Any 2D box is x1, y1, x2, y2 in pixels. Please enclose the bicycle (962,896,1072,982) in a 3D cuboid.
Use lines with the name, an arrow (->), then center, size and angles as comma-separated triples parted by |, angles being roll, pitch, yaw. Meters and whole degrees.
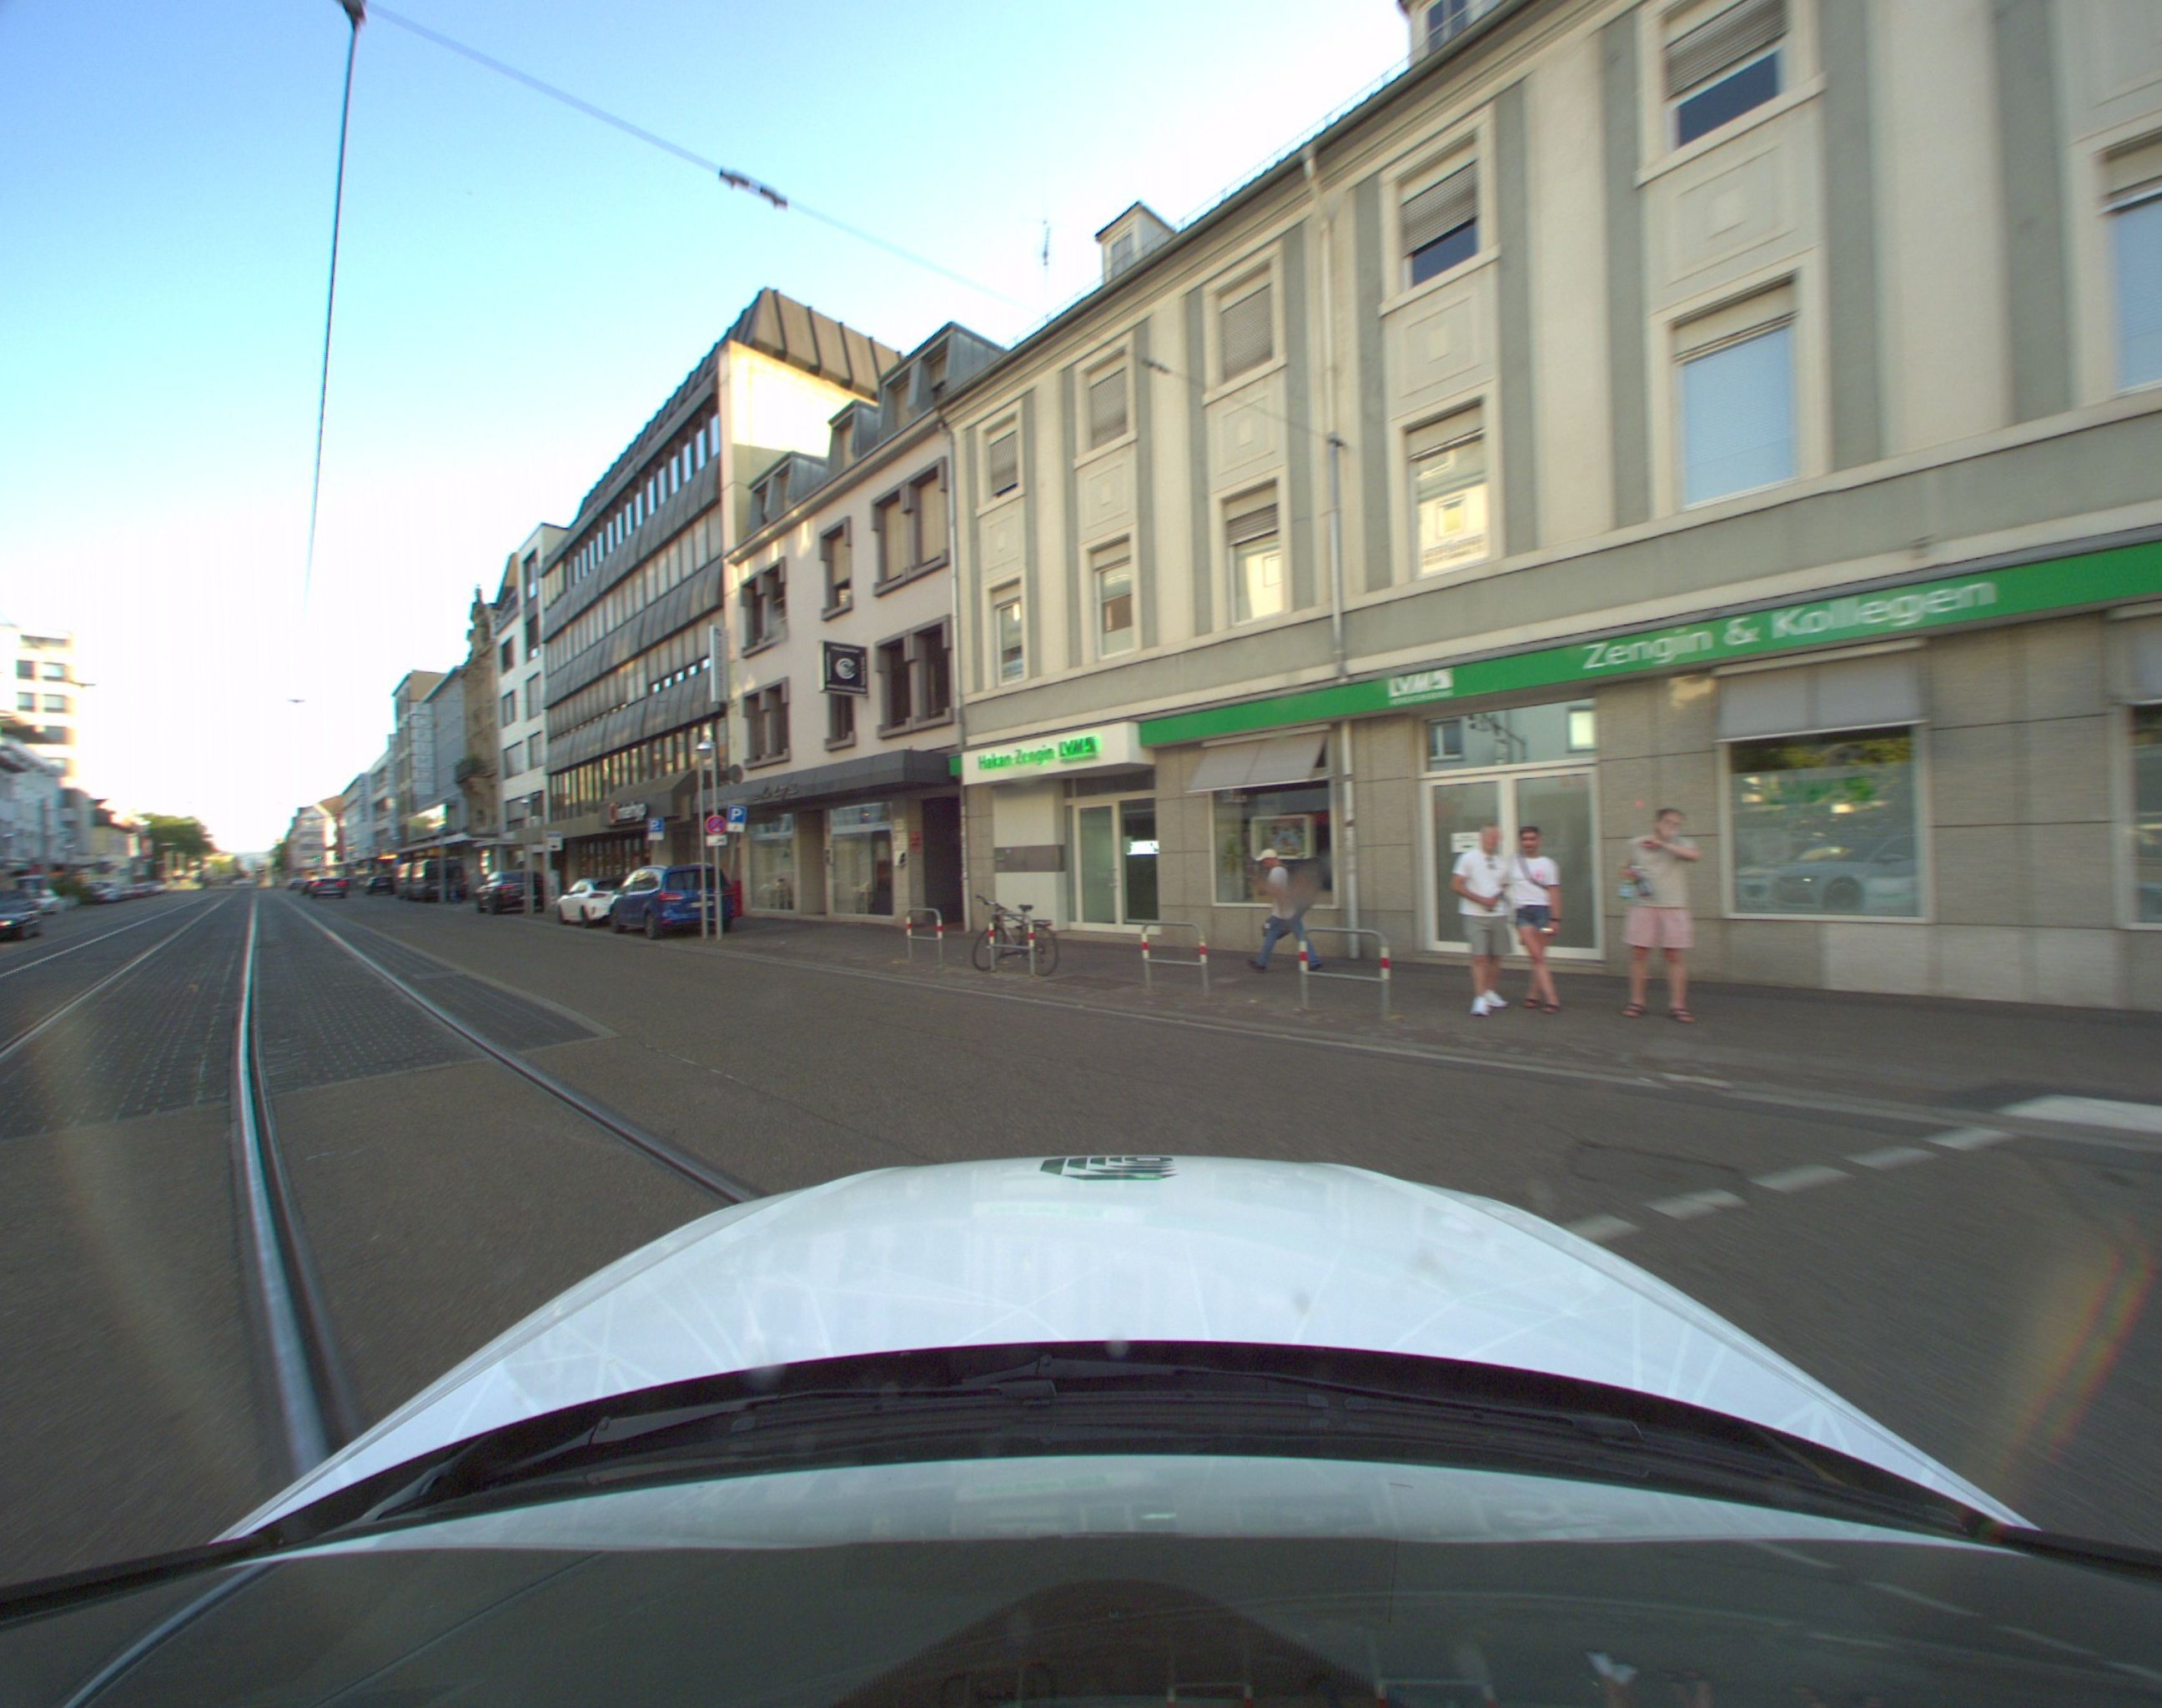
bicycle -> -0.928, 1.160, 11.460 | 1.627, 1.089, 0.482 | -3, 1, 41

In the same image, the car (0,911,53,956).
car -> -34.282, 2.541, 25.794 | 4.219, 1.228, 1.683 | -3, 2, 44

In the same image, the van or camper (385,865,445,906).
van or camper -> -44.025, 2.080, 53.784 | 5.447, 2.426, 2.210 | -3, 2, 43

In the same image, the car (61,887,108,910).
car -> -80.037, 3.550, 65.466 | 4.374, 1.763, 1.935 | -3, -3, 44

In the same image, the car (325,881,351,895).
car -> -87.231, 3.985, 95.585 | 4.487, 1.544, 1.962 | -2, 2, 45

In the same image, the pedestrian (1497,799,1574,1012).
pedestrian -> 4.341, 0.465, 7.768 | 0.523, 1.928, 0.644 | -3, -1, 33

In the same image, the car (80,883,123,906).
car -> -85.511, 3.538, 71.140 | 4.781, 1.936, 1.935 | -3, -3, 44

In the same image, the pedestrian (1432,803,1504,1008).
pedestrian -> 3.825, 0.485, 8.036 | 0.490, 1.928, 0.579 | -3, -1, 33

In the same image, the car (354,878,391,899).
car -> -60.180, 2.938, 69.135 | 4.487, 1.544, 1.962 | -2, 2, 45

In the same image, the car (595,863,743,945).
car -> -10.509, 1.197, 20.622 | 4.506, 1.716, 1.933 | -2, 2, 45

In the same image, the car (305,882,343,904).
car -> -58.425, 2.988, 62.803 | 4.487, 1.545, 1.961 | -2, -1, 45

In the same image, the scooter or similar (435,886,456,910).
scooter or similar -> -33.838, 2.338, 43.346 | 0.354, 1.223, 1.110 | -4, 1, -13

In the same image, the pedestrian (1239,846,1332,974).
pedestrian -> 2.623, 0.691, 10.461 | 0.703, 1.548, 0.859 | -2, -1, -44

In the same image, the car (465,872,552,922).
car -> -23.332, 1.709, 33.112 | 4.612, 1.734, 2.003 | -2, 2, 45

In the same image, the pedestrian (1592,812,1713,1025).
pedestrian -> 5.002, 0.530, 7.129 | 0.643, 1.745, 0.691 | -2, -1, -44

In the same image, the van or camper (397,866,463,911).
van or camper -> -39.537, 2.067, 49.395 | 6.055, 2.426, 2.209 | -3, 2, 44

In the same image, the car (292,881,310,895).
car -> -130.294, 5.596, 136.077 | 4.487, 2.145, 1.962 | -2, 2, 45

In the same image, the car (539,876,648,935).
car -> -14.779, 1.515, 24.624 | 3.823, 1.485, 1.783 | -3, 2, 44
